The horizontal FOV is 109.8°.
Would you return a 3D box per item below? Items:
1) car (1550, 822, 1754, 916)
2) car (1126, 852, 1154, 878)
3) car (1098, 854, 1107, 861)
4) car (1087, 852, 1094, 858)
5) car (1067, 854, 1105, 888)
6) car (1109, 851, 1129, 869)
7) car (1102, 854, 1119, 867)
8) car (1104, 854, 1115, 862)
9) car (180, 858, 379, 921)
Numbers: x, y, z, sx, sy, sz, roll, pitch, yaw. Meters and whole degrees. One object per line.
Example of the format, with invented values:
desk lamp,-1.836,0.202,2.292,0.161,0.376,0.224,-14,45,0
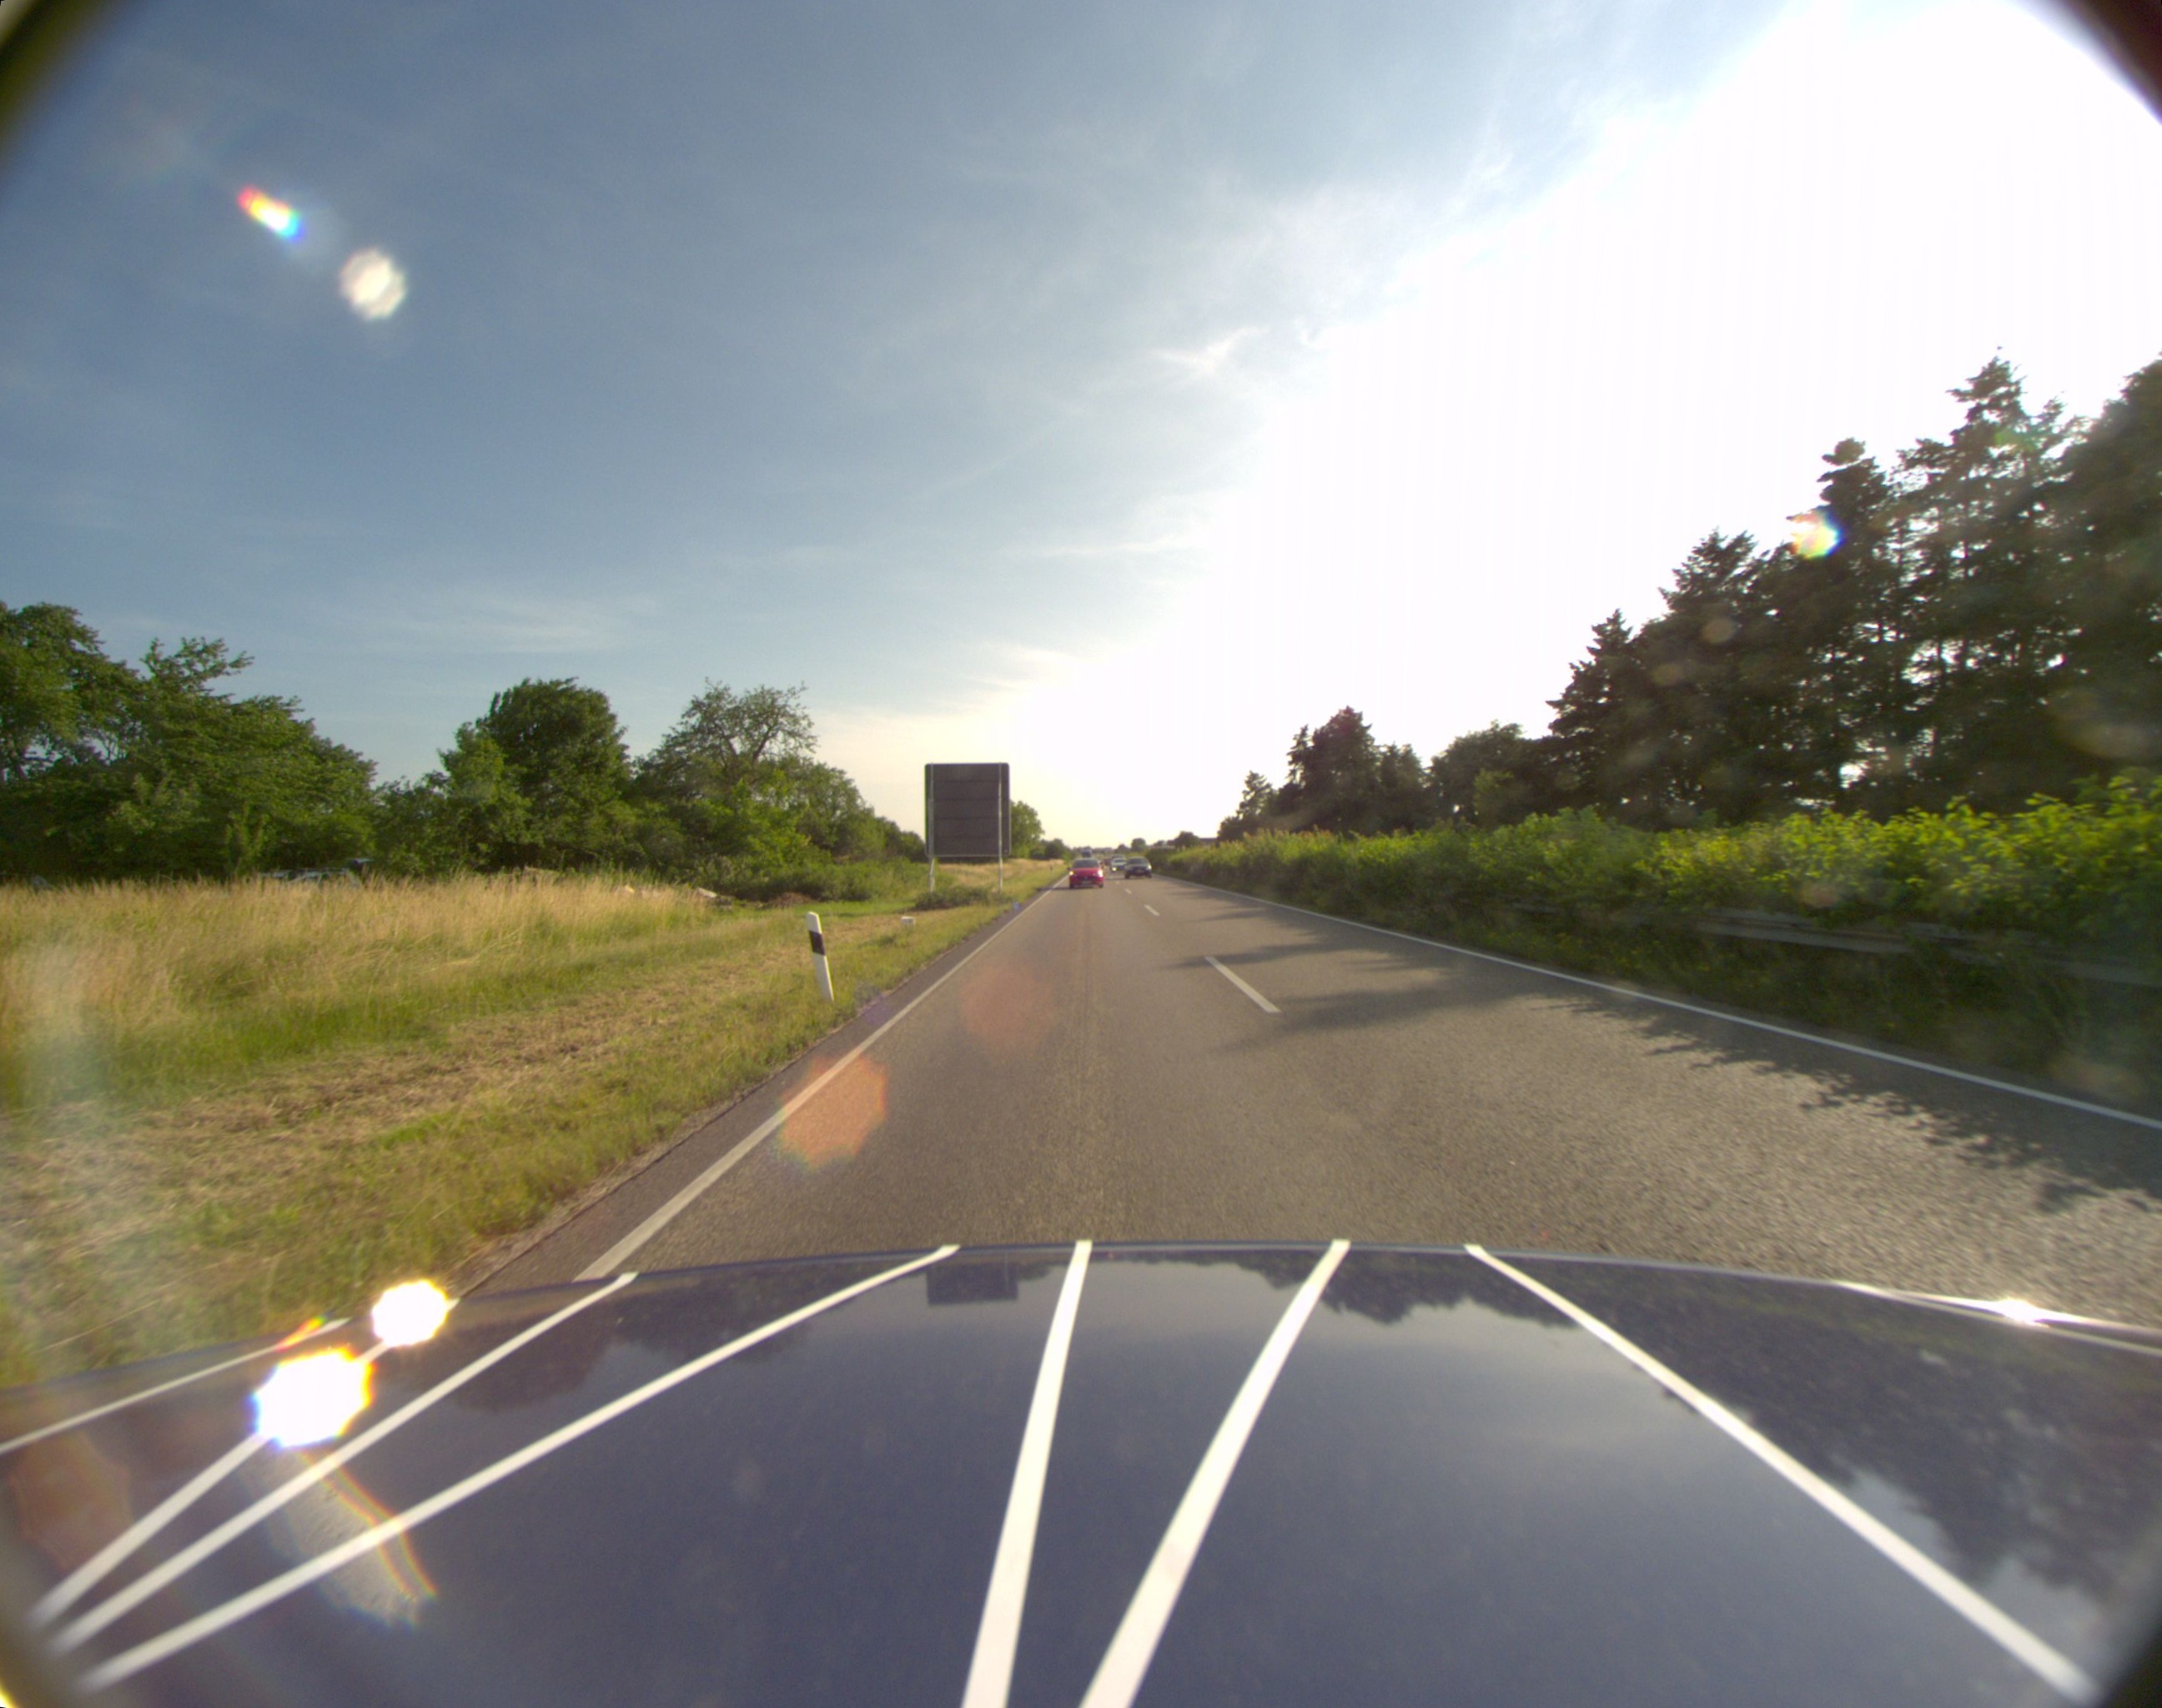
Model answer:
car,13.786,0.329,18.701,1.998,2.002,4.000,-2,0,0
car,4.027,0.713,52.547,1.693,1.695,4.000,-2,0,1
car,4.827,0.728,169.733,1.998,1.412,4.000,-2,0,2
car,2.667,0.294,214.577,1.998,1.412,4.000,-2,0,2
car,0.306,0.844,39.126,1.821,1.565,4.000,-2,0,2
car,3.891,0.608,78.782,1.998,1.762,4.000,-2,0,2
car,3.718,0.809,95.887,1.998,1.412,4.000,-2,0,2
car,5.300,0.790,141.161,1.998,1.412,4.000,-2,0,2
car,-25.283,1.052,24.214,1.998,1.739,4.000,-2,0,0
